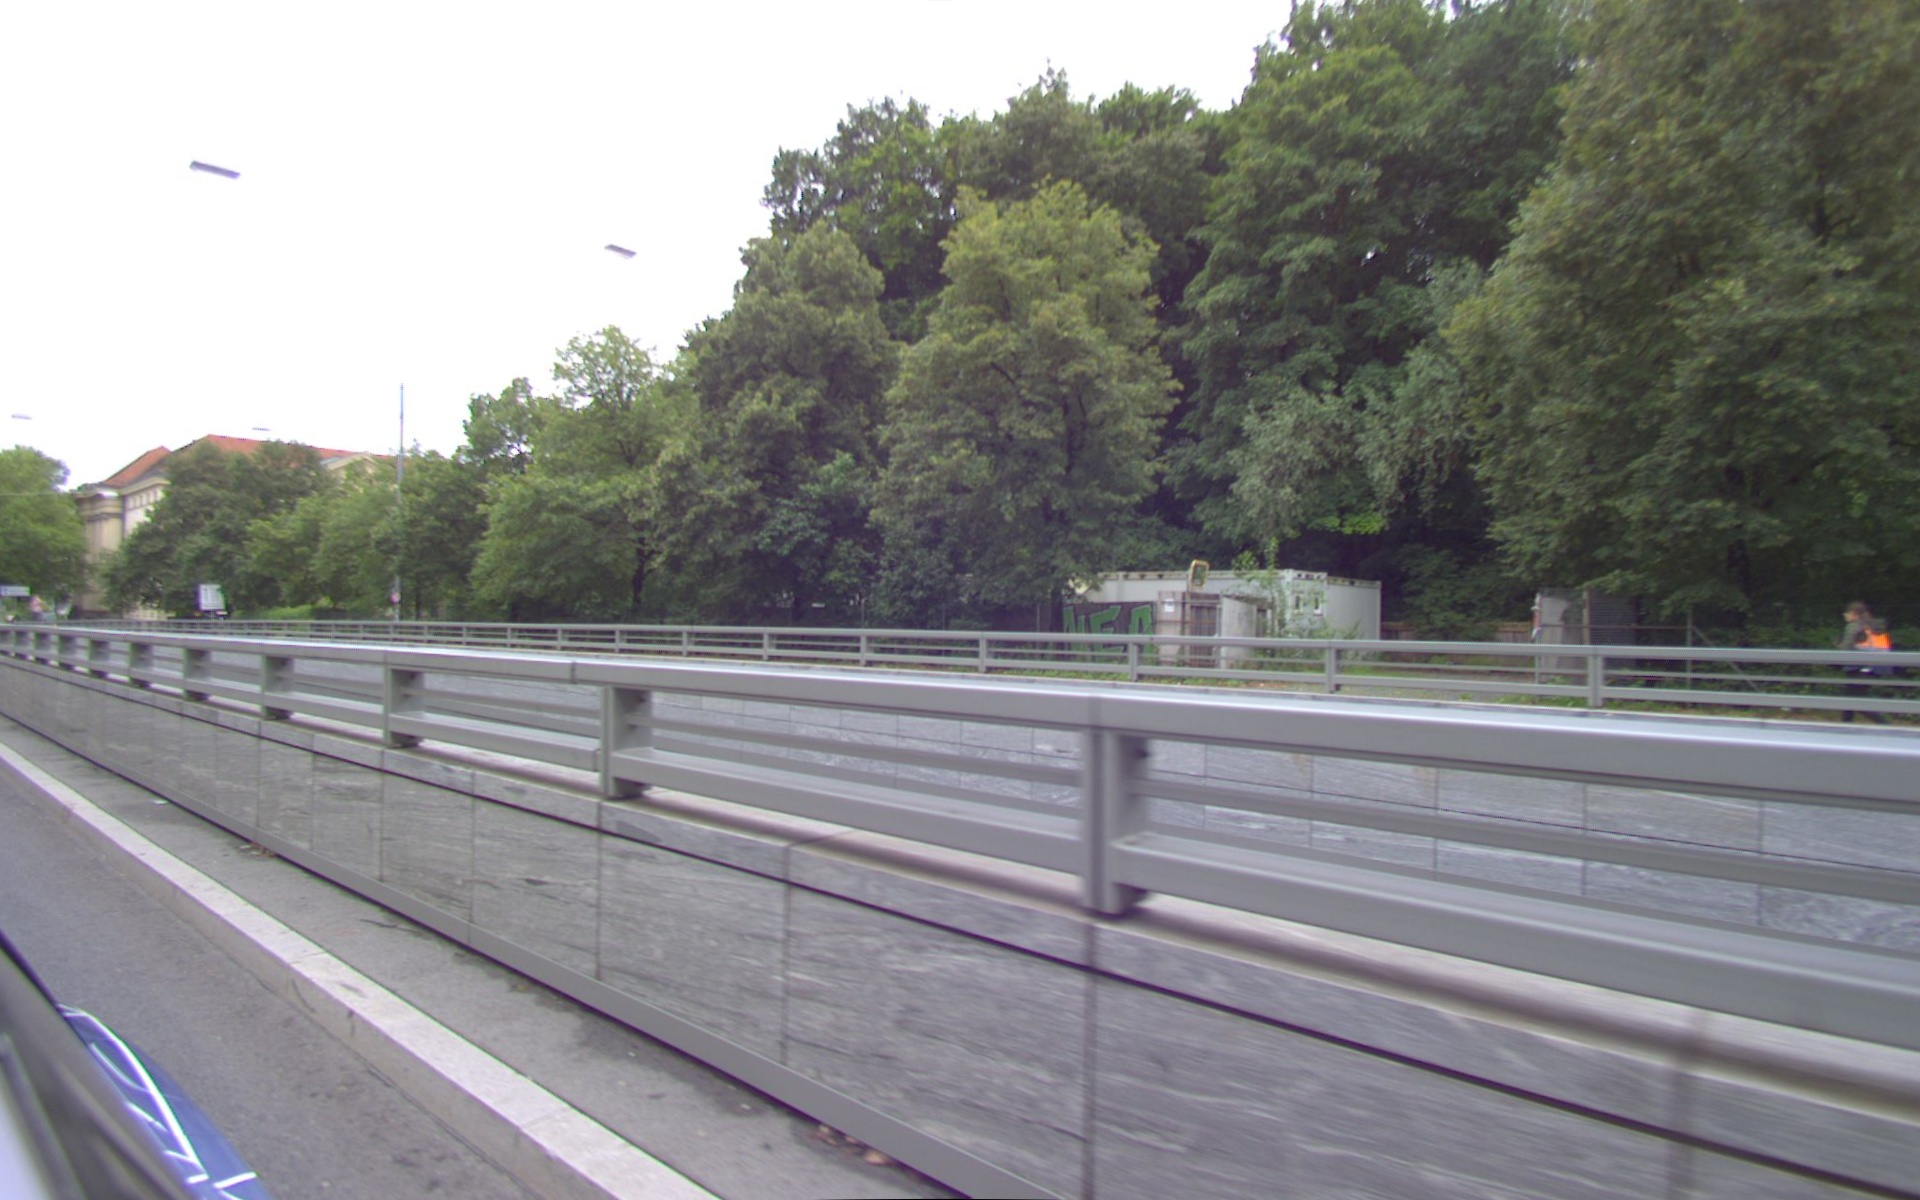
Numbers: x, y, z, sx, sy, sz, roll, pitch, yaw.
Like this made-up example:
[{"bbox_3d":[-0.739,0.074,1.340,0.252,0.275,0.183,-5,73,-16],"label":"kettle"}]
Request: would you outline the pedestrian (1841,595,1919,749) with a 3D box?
[{"bbox_3d":[10.368,0.782,11.366,0.698,1.653,0.656,-1,-1,42],"label":"pedestrian"}]
